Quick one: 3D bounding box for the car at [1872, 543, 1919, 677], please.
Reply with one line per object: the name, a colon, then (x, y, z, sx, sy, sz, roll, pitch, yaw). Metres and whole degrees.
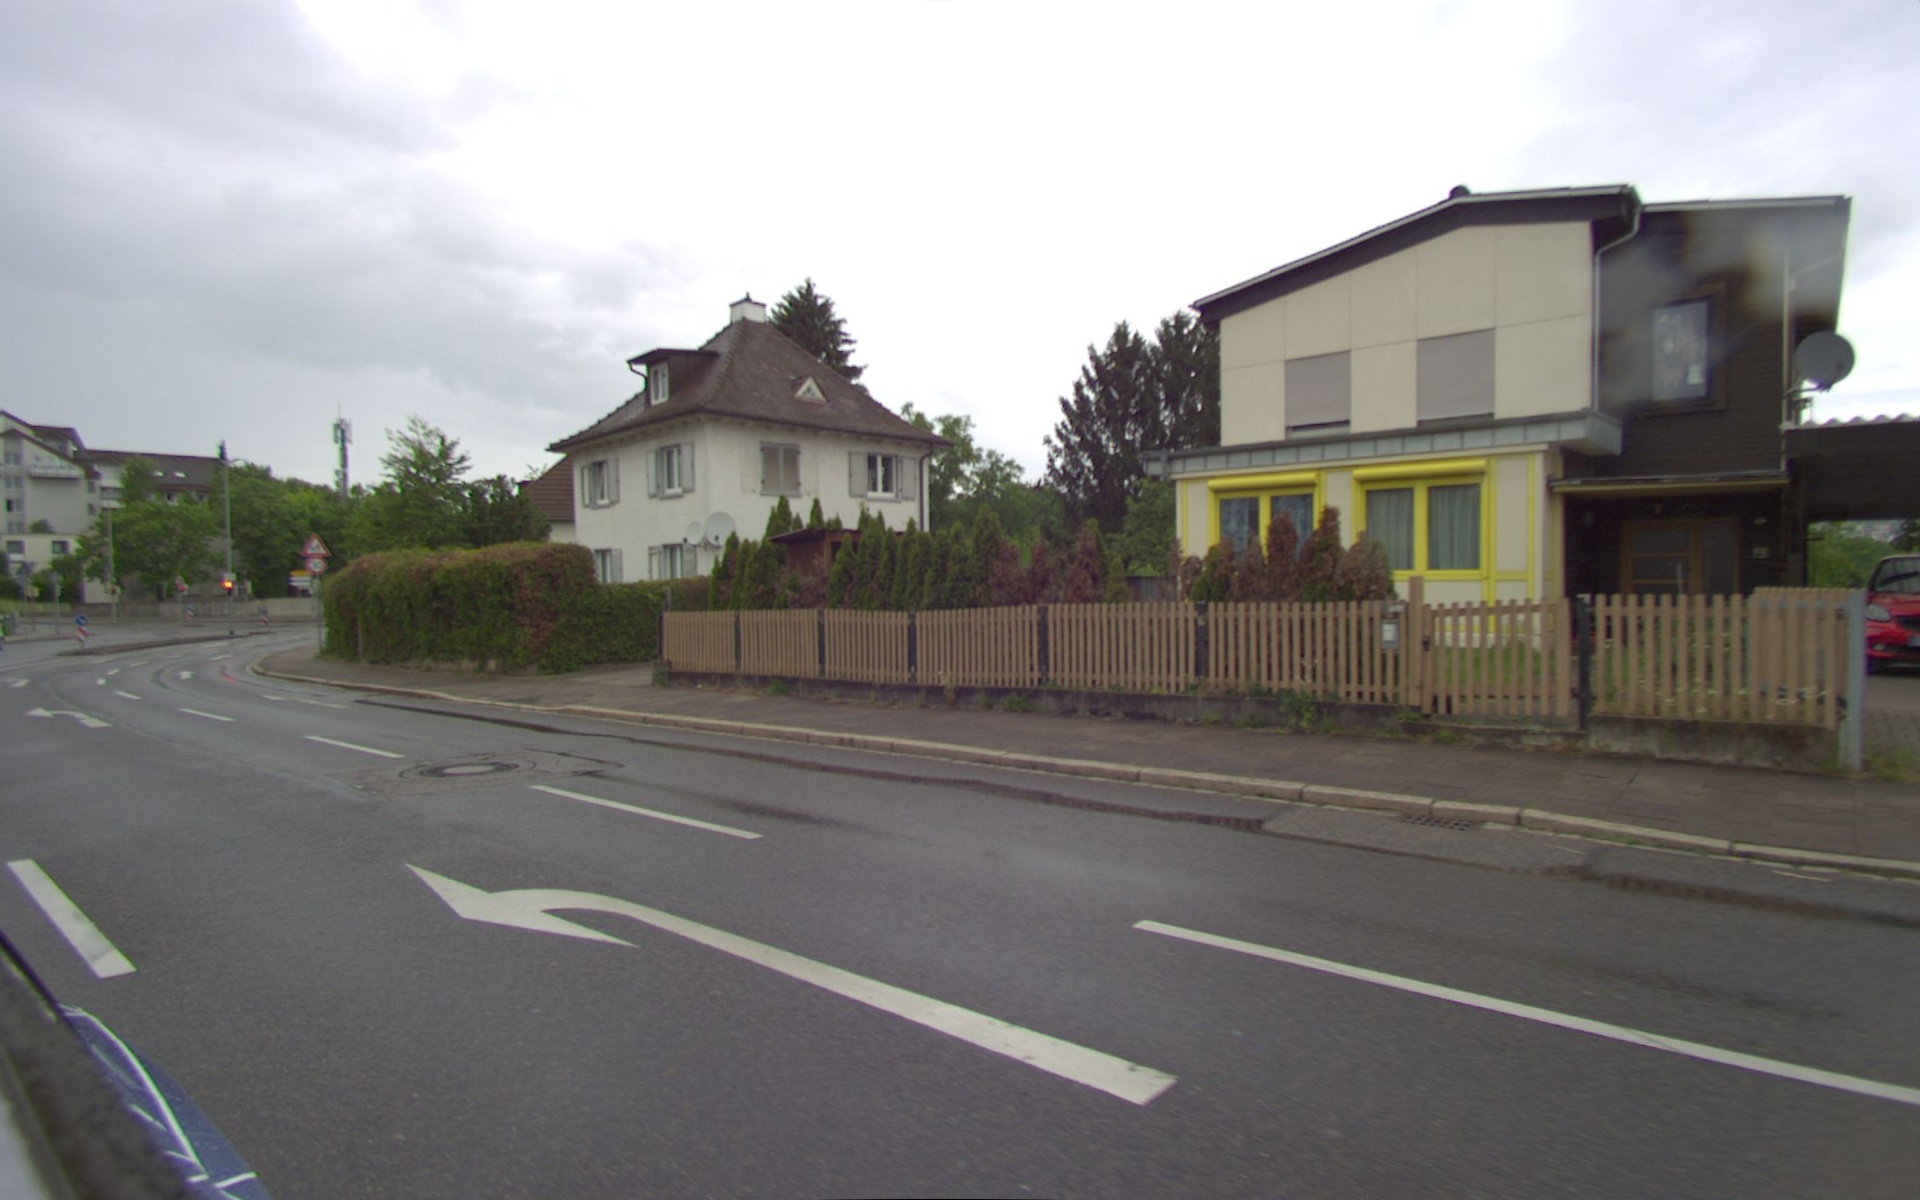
car: (12.743, 0.136, 12.841, 1.594, 1.594, 3.143, -1, -2, 44)

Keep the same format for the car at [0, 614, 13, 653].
car: (-42.751, 1.512, 43.331, 1.965, 1.669, 4.014, 0, 1, -24)
